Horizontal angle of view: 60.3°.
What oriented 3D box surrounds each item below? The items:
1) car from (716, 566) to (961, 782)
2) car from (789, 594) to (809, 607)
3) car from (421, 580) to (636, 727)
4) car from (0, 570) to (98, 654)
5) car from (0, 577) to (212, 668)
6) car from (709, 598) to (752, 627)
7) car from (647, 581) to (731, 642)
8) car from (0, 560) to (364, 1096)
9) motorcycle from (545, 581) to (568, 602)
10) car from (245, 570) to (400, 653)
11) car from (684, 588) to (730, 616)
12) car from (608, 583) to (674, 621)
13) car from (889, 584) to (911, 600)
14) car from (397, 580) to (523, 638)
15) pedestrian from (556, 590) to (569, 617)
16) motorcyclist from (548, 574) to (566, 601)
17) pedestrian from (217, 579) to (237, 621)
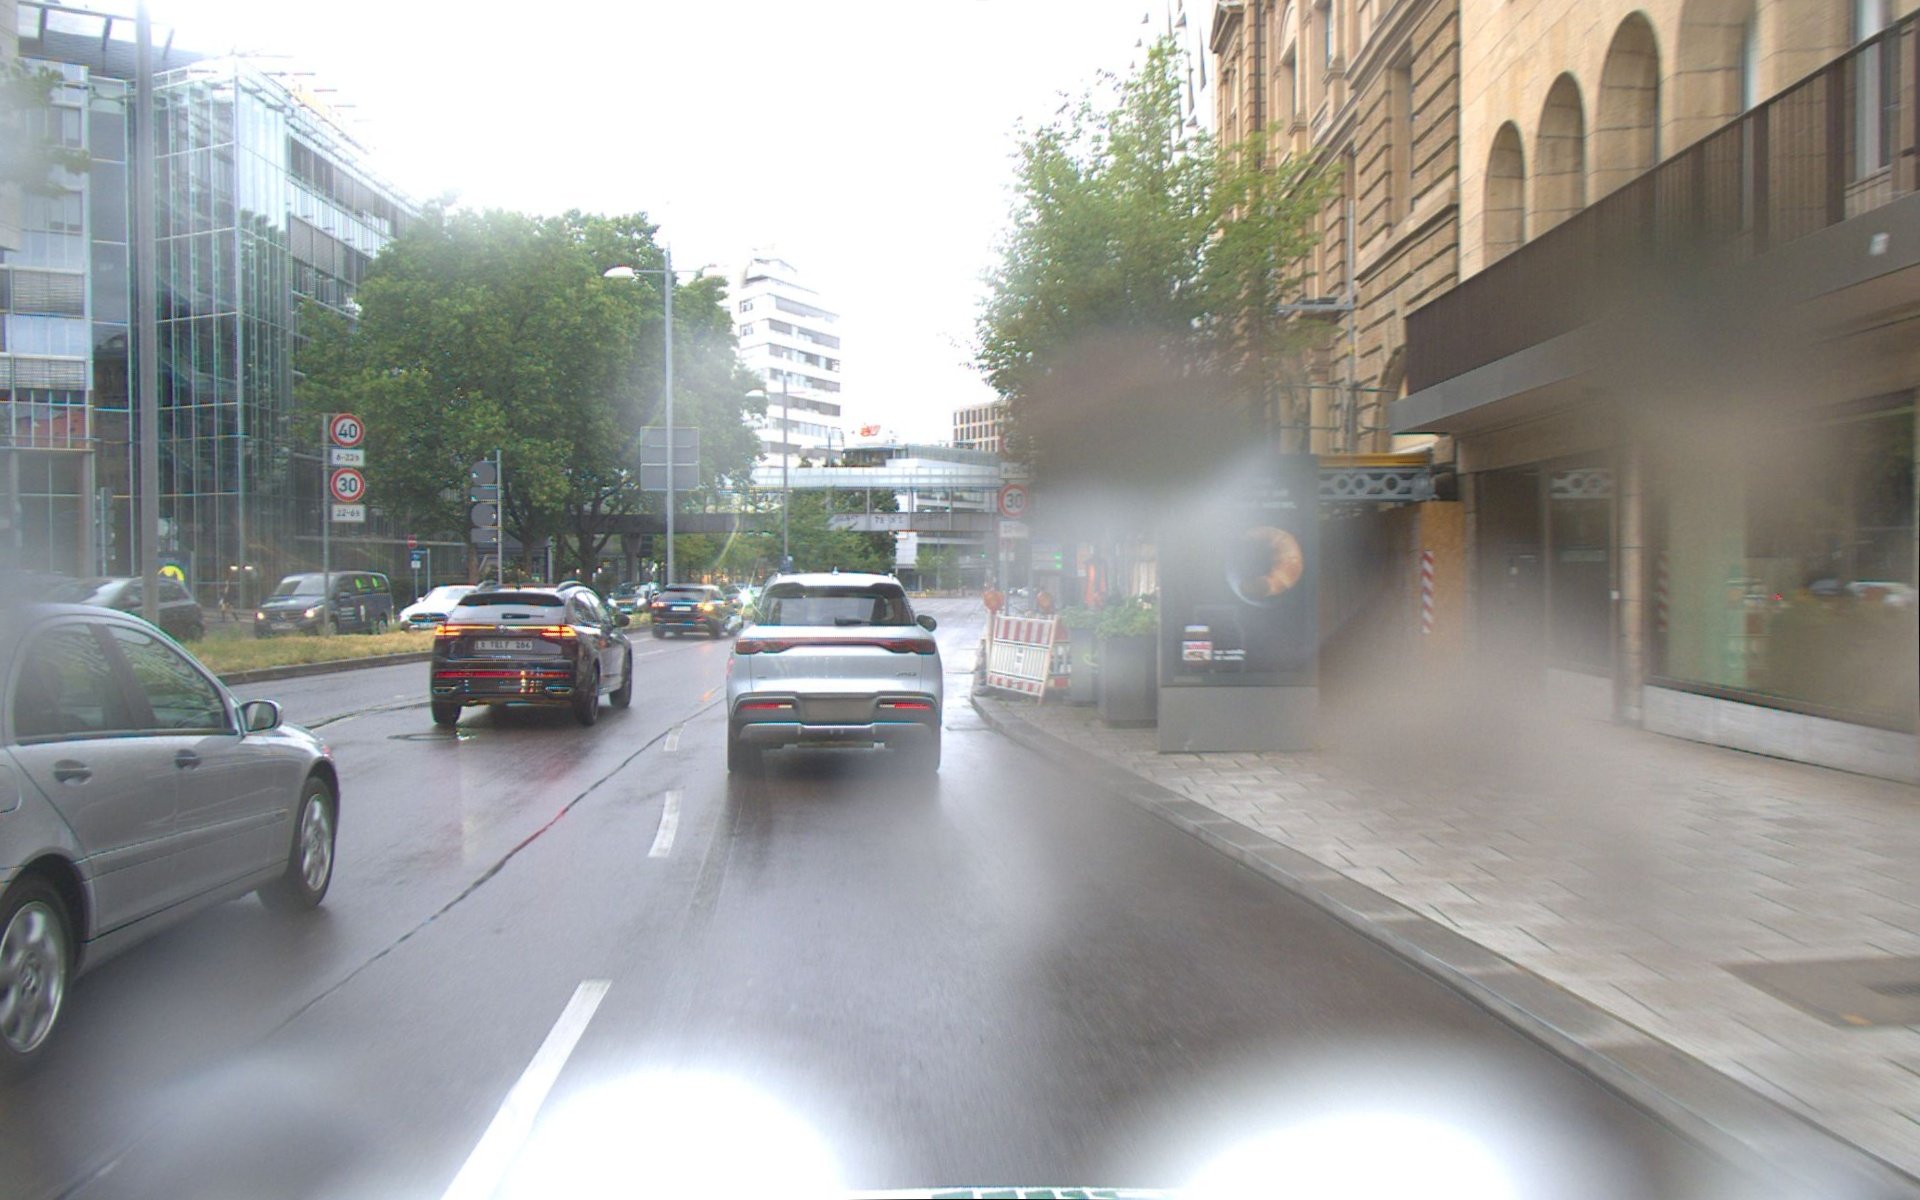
[{"bbox_3d":[-1.136,0.564,14.862,1.864,1.649,3.995,1,0,-6],"label":"car"},{"bbox_3d":[-17.247,0.096,177.063,1.563,1.384,4.118,0,0,3],"label":"car"},{"bbox_3d":[-4.783,0.558,18.859,1.739,1.482,3.995,0,0,-6],"label":"car"},{"bbox_3d":[-19.918,0.244,34.423,1.793,1.668,4.091,0,0,0],"label":"car"},{"bbox_3d":[-14.250,0.359,27.293,1.710,1.388,3.946,0,0,6],"label":"car"},{"bbox_3d":[-13.663,0.745,98.718,1.835,1.710,4.681,0,0,1],"label":"car"},{"bbox_3d":[-7.449,0.290,45.743,1.775,1.606,3.998,1,0,-2],"label":"car"},{"bbox_3d":[-3.615,0.606,5.969,1.639,1.505,4.357,1,1,-5],"label":"car"},{"bbox_3d":[-18.913,-0.394,77.629,0.680,0.987,1.397,1,0,2],"label":"motorcycle"},{"bbox_3d":[-16.676,0.301,43.572,1.792,2.037,5.106,0,0,4],"label":"car"},{"bbox_3d":[-13.003,0.127,85.205,1.563,1.384,4.118,0,0,3],"label":"car"},{"bbox_3d":[-12.845,0.093,66.871,1.665,1.462,4.583,0,0,1],"label":"car"},{"bbox_3d":[-5.353,-0.714,148.230,1.619,1.365,4.001,1,0,2],"label":"car"},{"bbox_3d":[-13.367,0.245,44.487,1.821,1.467,4.315,0,0,4],"label":"car"},{"bbox_3d":[-28.134,0.240,117.034,0.707,1.839,0.618,1,0,1],"label":"pedestrian"},{"bbox_3d":[-18.902,-0.576,77.569,0.660,1.260,0.620,1,0,2],"label":"motorcyclist"},{"bbox_3d":[-28.301,0.014,63.895,0.657,1.598,0.817,0,1,-21],"label":"pedestrian"}]
